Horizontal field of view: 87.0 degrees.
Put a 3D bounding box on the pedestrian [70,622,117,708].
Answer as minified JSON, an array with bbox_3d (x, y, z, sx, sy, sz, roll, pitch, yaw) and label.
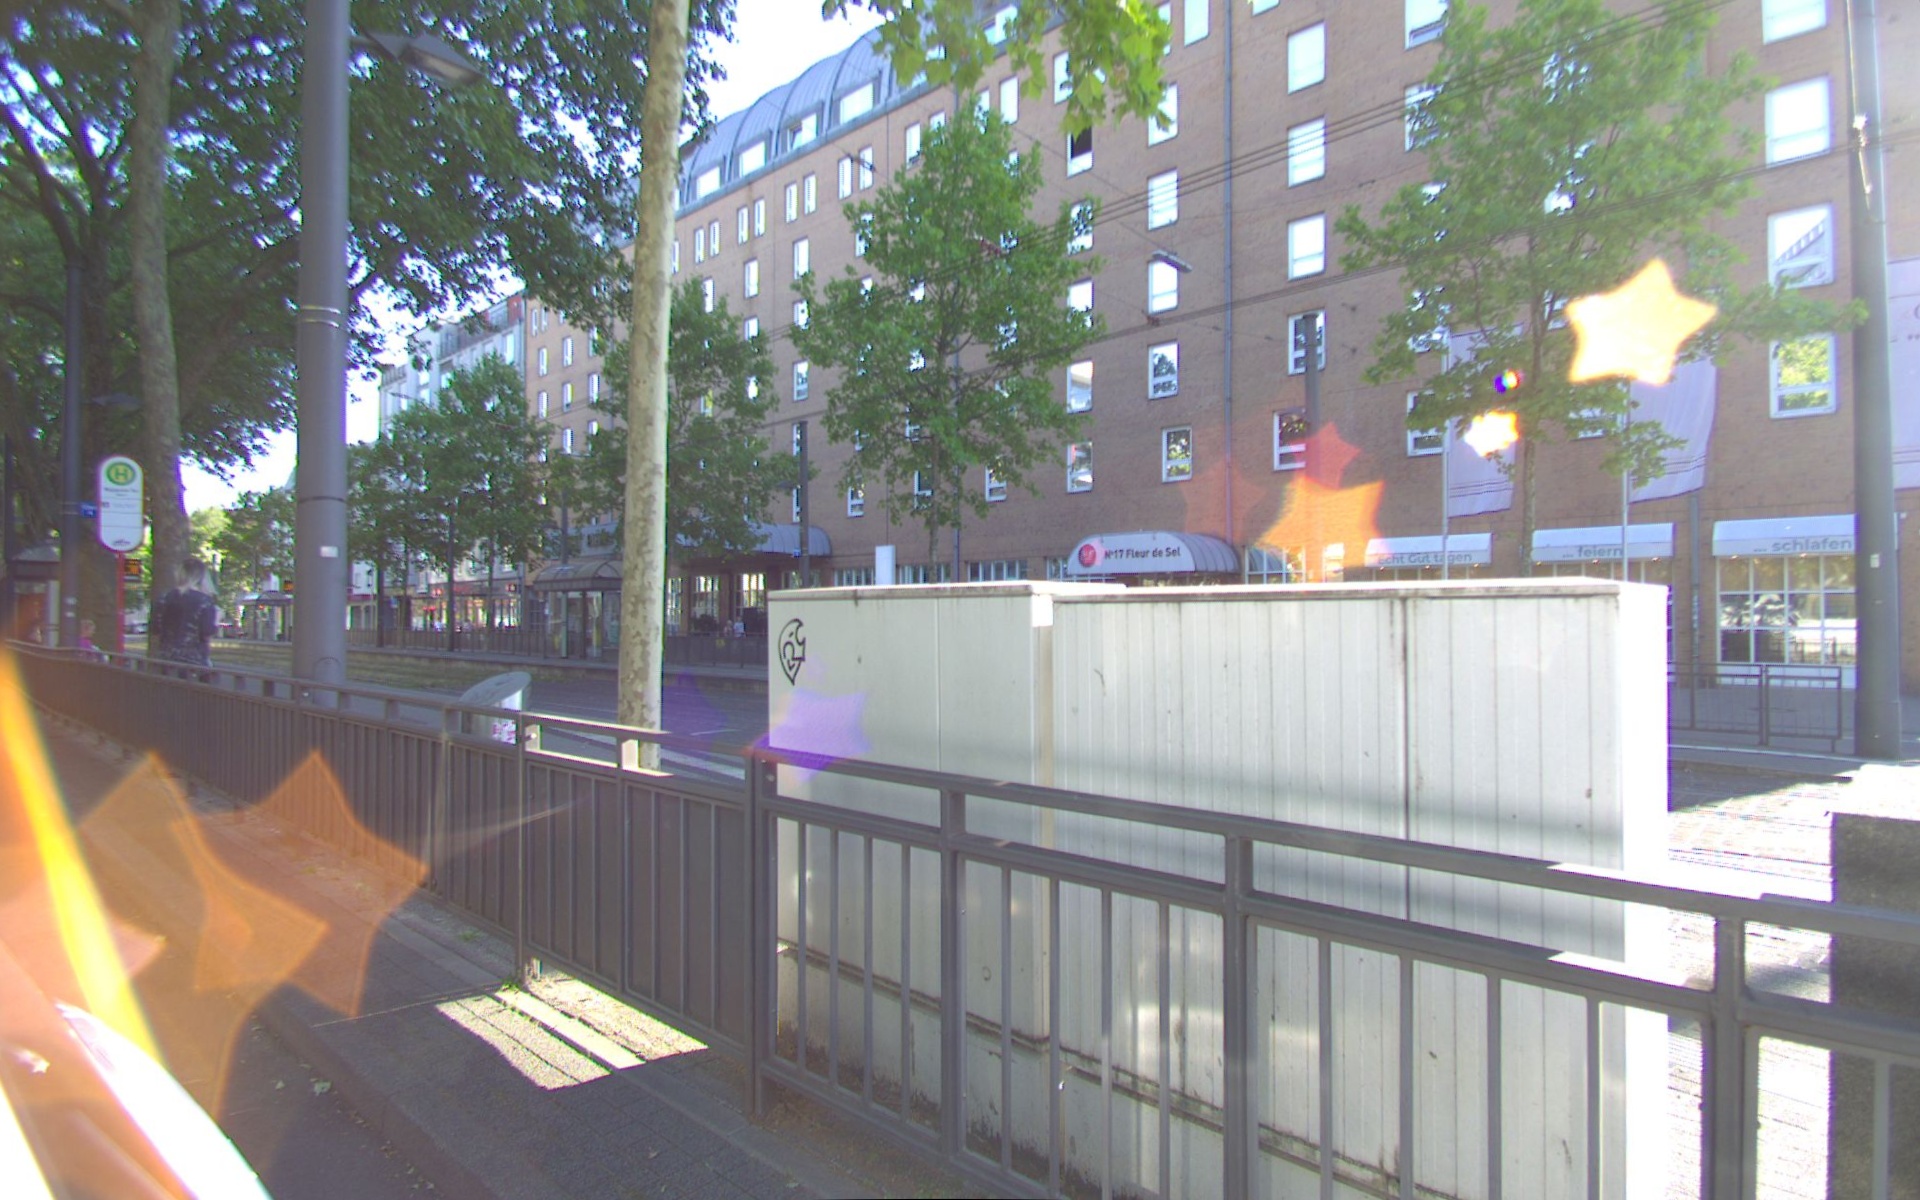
[{"bbox_3d":[-13.993,1.035,16.352,0.534,1.327,0.525,-1,0,-37],"label":"pedestrian"}]

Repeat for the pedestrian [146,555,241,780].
[{"bbox_3d":[-6.571,0.550,8.677,0.524,1.848,0.536,-1,0,42],"label":"pedestrian"}]

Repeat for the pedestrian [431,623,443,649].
[{"bbox_3d":[-36.230,2.496,70.103,0.574,1.748,0.497,-2,-2,43],"label":"pedestrian"}]

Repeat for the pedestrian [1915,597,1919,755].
[{"bbox_3d":[11.746,0.870,11.693,0.978,1.812,0.958,-1,0,-43],"label":"pedestrian"}]
